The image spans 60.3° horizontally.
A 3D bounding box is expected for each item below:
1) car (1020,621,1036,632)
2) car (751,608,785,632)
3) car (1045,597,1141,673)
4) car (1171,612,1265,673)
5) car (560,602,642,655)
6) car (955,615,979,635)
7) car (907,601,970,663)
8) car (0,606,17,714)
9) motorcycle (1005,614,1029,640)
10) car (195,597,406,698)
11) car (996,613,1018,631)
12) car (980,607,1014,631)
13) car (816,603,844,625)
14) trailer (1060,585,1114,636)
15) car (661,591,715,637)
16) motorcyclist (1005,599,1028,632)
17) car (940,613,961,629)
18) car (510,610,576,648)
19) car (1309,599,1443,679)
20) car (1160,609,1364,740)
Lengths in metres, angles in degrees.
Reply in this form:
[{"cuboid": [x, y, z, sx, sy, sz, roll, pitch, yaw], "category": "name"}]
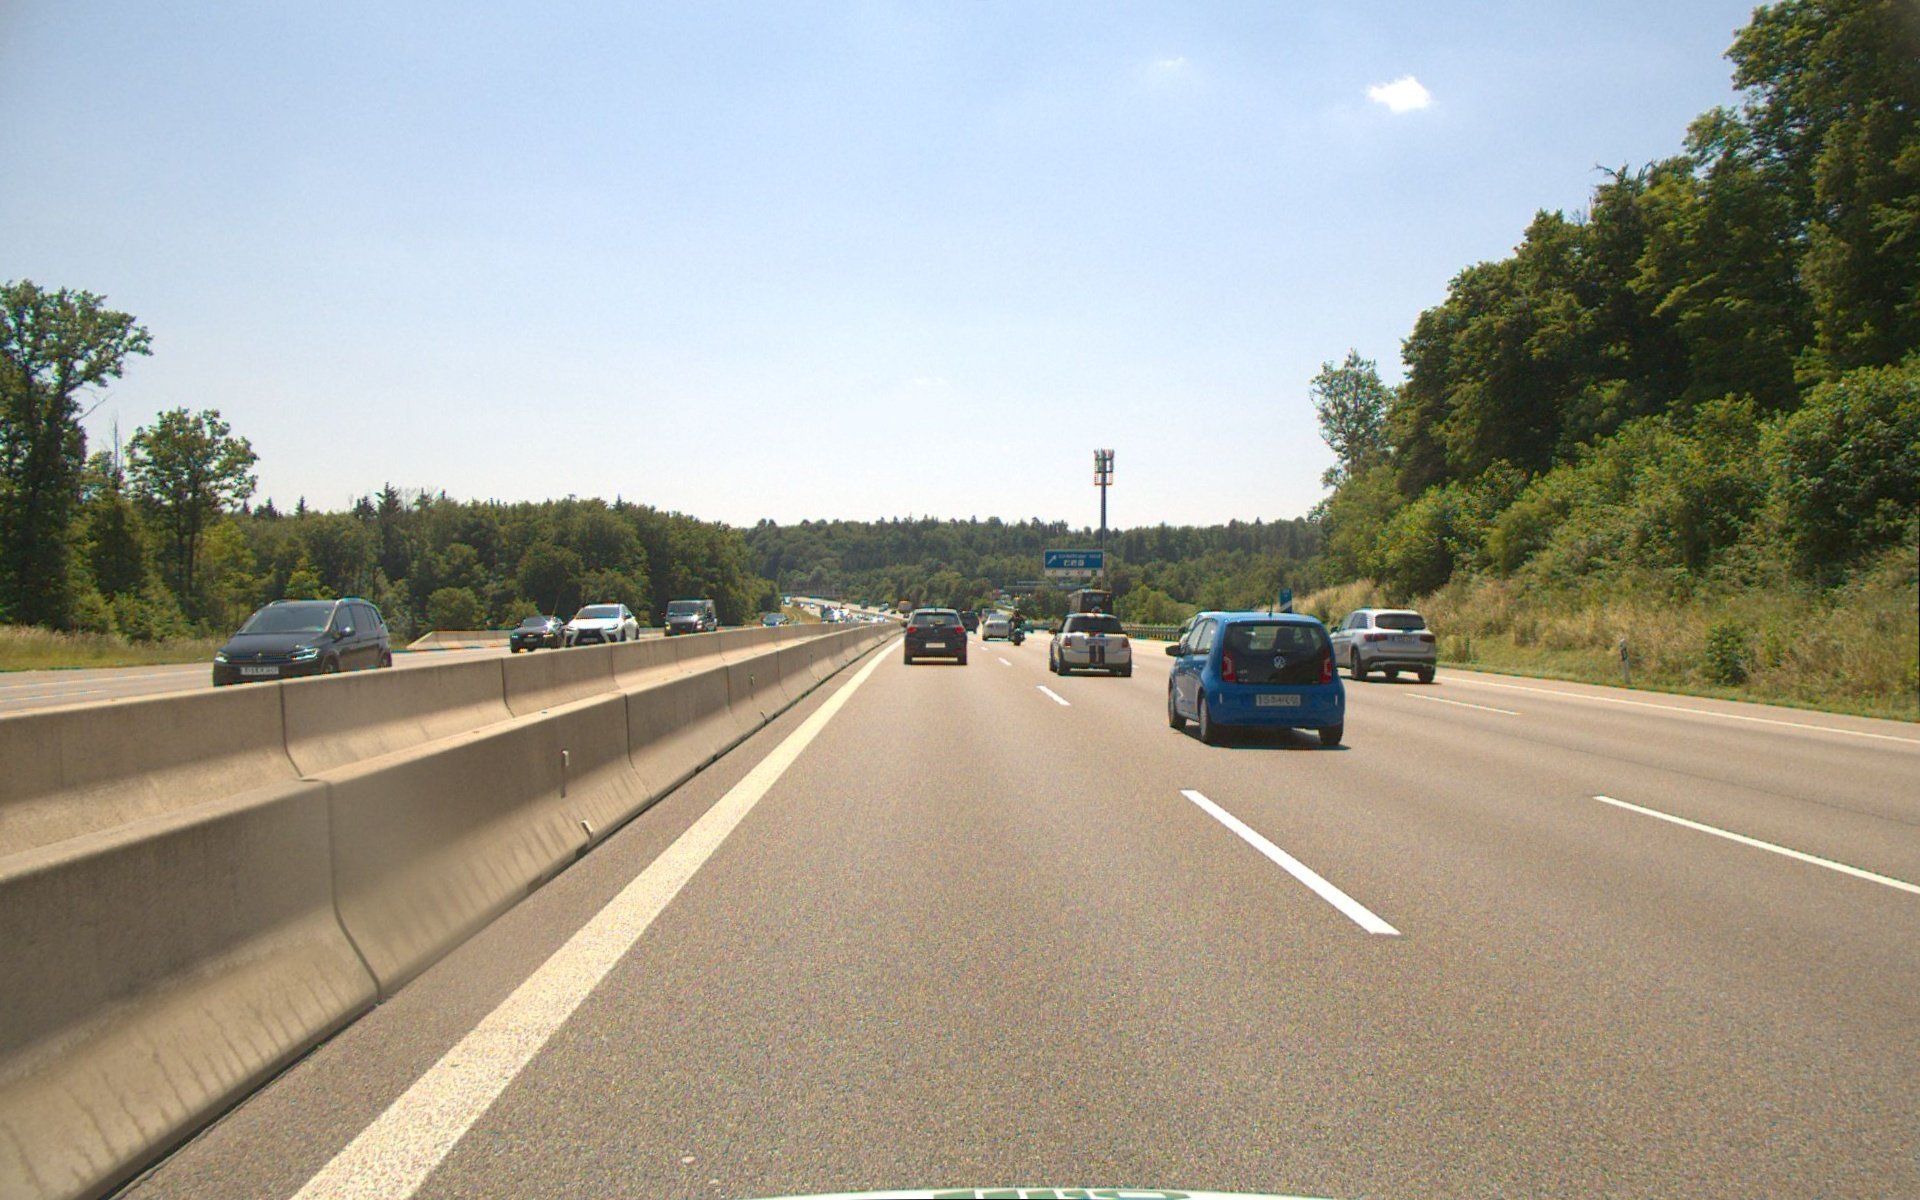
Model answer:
[{"cuboid": [8.132, 3.148, 197.498, 1.576, 1.234, 3.458, -1, -1, -3], "category": "car"}, {"cuboid": [-14.377, 1.468, 124.073, 1.953, 1.704, 5.279, -2, 0, -2], "category": "car"}, {"cuboid": [3.044, 0.820, 38.638, 1.804, 1.579, 3.999, 4, -2, -1], "category": "car"}, {"cuboid": [6.718, 1.077, 43.478, 1.632, 1.458, 4.374, 0, 0, -2], "category": "car"}, {"cuboid": [-11.902, 0.911, 55.154, 1.857, 1.691, 4.727, 0, 0, -2], "category": "car"}, {"cuboid": [0.633, 2.343, 155.808, 2.055, 1.884, 4.079, 0, 0, -2], "category": "car"}, {"cuboid": [-0.574, 0.829, 44.241, 1.591, 1.513, 3.684, 1, 1, -1], "category": "car"}, {"cuboid": [-14.931, 0.905, 22.455, 1.709, 1.589, 4.422, -2, 0, 0], "category": "car"}, {"cuboid": [2.609, 1.213, 75.810, 0.958, 1.149, 2.270, 0, 0, -3], "category": "motorcycle"}, {"cuboid": [-11.150, 0.752, 28.339, 1.764, 1.576, 4.728, 0, 0, -1], "category": "car"}, {"cuboid": [4.076, 1.882, 143.364, 1.642, 1.457, 3.682, 0, 0, -3], "category": "car"}, {"cuboid": [2.013, 1.021, 91.731, 1.746, 1.287, 3.459, 0, 0, -1], "category": "car"}, {"cuboid": [-10.524, 1.124, 134.348, 1.953, 1.702, 5.279, -2, 0, -2], "category": "car"}, {"cuboid": [9.844, 0.904, 129.759, 2.800, 3.753, 13.536, -1, -1, -2], "category": "trailer"}, {"cuboid": [-12.560, 0.634, 76.596, 1.954, 2.049, 4.809, 0, 0, -3], "category": "car"}, {"cuboid": [2.594, 0.716, 75.694, 0.943, 1.463, 1.234, -1, 0, -3], "category": "motorcyclist"}, {"cuboid": [-1.075, 2.384, 185.698, 1.955, 1.713, 4.418, 1, 0, -5], "category": "car"}, {"cuboid": [-16.075, 1.092, 63.926, 1.457, 1.328, 4.299, -2, 0, -1], "category": "car"}, {"cuboid": [9.916, 0.874, 39.860, 1.764, 1.761, 5.238, 1, 0, -1], "category": "car"}, {"cuboid": [3.548, 0.836, 20.119, 1.702, 1.436, 3.999, 0, -1, -1], "category": "car"}]
